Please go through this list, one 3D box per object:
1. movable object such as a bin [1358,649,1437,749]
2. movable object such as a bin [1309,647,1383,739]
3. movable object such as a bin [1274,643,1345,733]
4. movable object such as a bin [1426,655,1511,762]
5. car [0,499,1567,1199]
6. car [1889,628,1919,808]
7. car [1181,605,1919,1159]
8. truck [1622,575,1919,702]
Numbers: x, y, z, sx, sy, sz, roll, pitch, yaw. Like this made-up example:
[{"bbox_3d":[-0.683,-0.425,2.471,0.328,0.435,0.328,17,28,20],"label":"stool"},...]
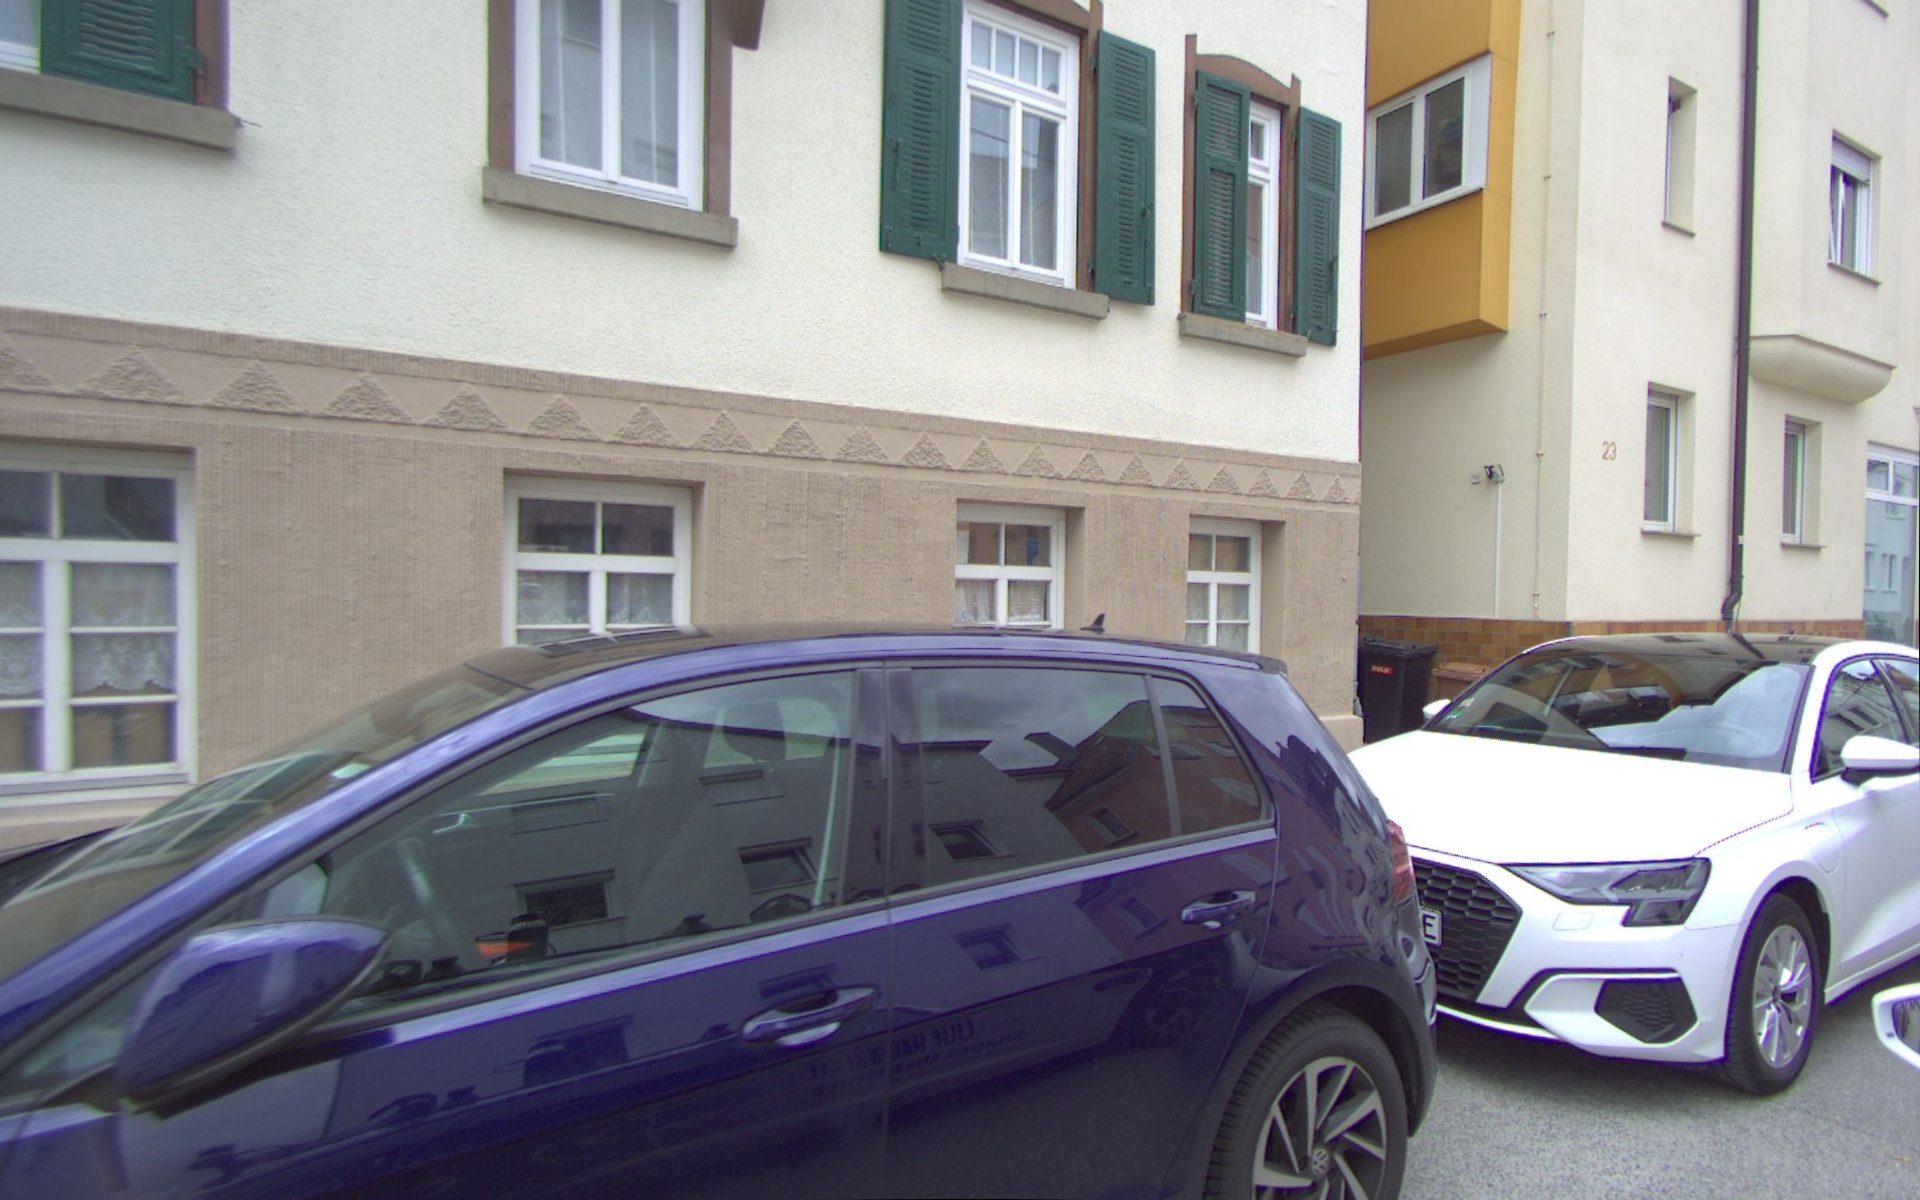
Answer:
[{"bbox_3d":[4.455,0.988,10.237,0.542,0.937,0.500,0,2,-35],"label":"movable object such as a bin"},{"bbox_3d":[4.127,0.976,10.751,0.542,0.906,0.500,0,2,-35],"label":"movable object such as a bin"},{"bbox_3d":[3.934,0.974,11.308,0.542,0.937,0.500,0,2,-35],"label":"movable object such as a bin"},{"bbox_3d":[4.861,1.022,9.608,0.542,0.937,0.500,0,2,-35],"label":"movable object such as a bin"},{"bbox_3d":[-0.864,0.684,2.064,4.318,1.475,1.744,2,-3,-30],"label":"car"},{"bbox_3d":[9.690,0.989,8.506,3.772,1.452,1.659,2,-3,-31],"label":"car"},{"bbox_3d":[3.205,0.838,4.521,4.319,1.451,1.743,2,-3,-31],"label":"car"},{"bbox_3d":[19.105,0.800,22.951,2.297,2.586,6.220,2,-1,-37],"label":"truck"}]
